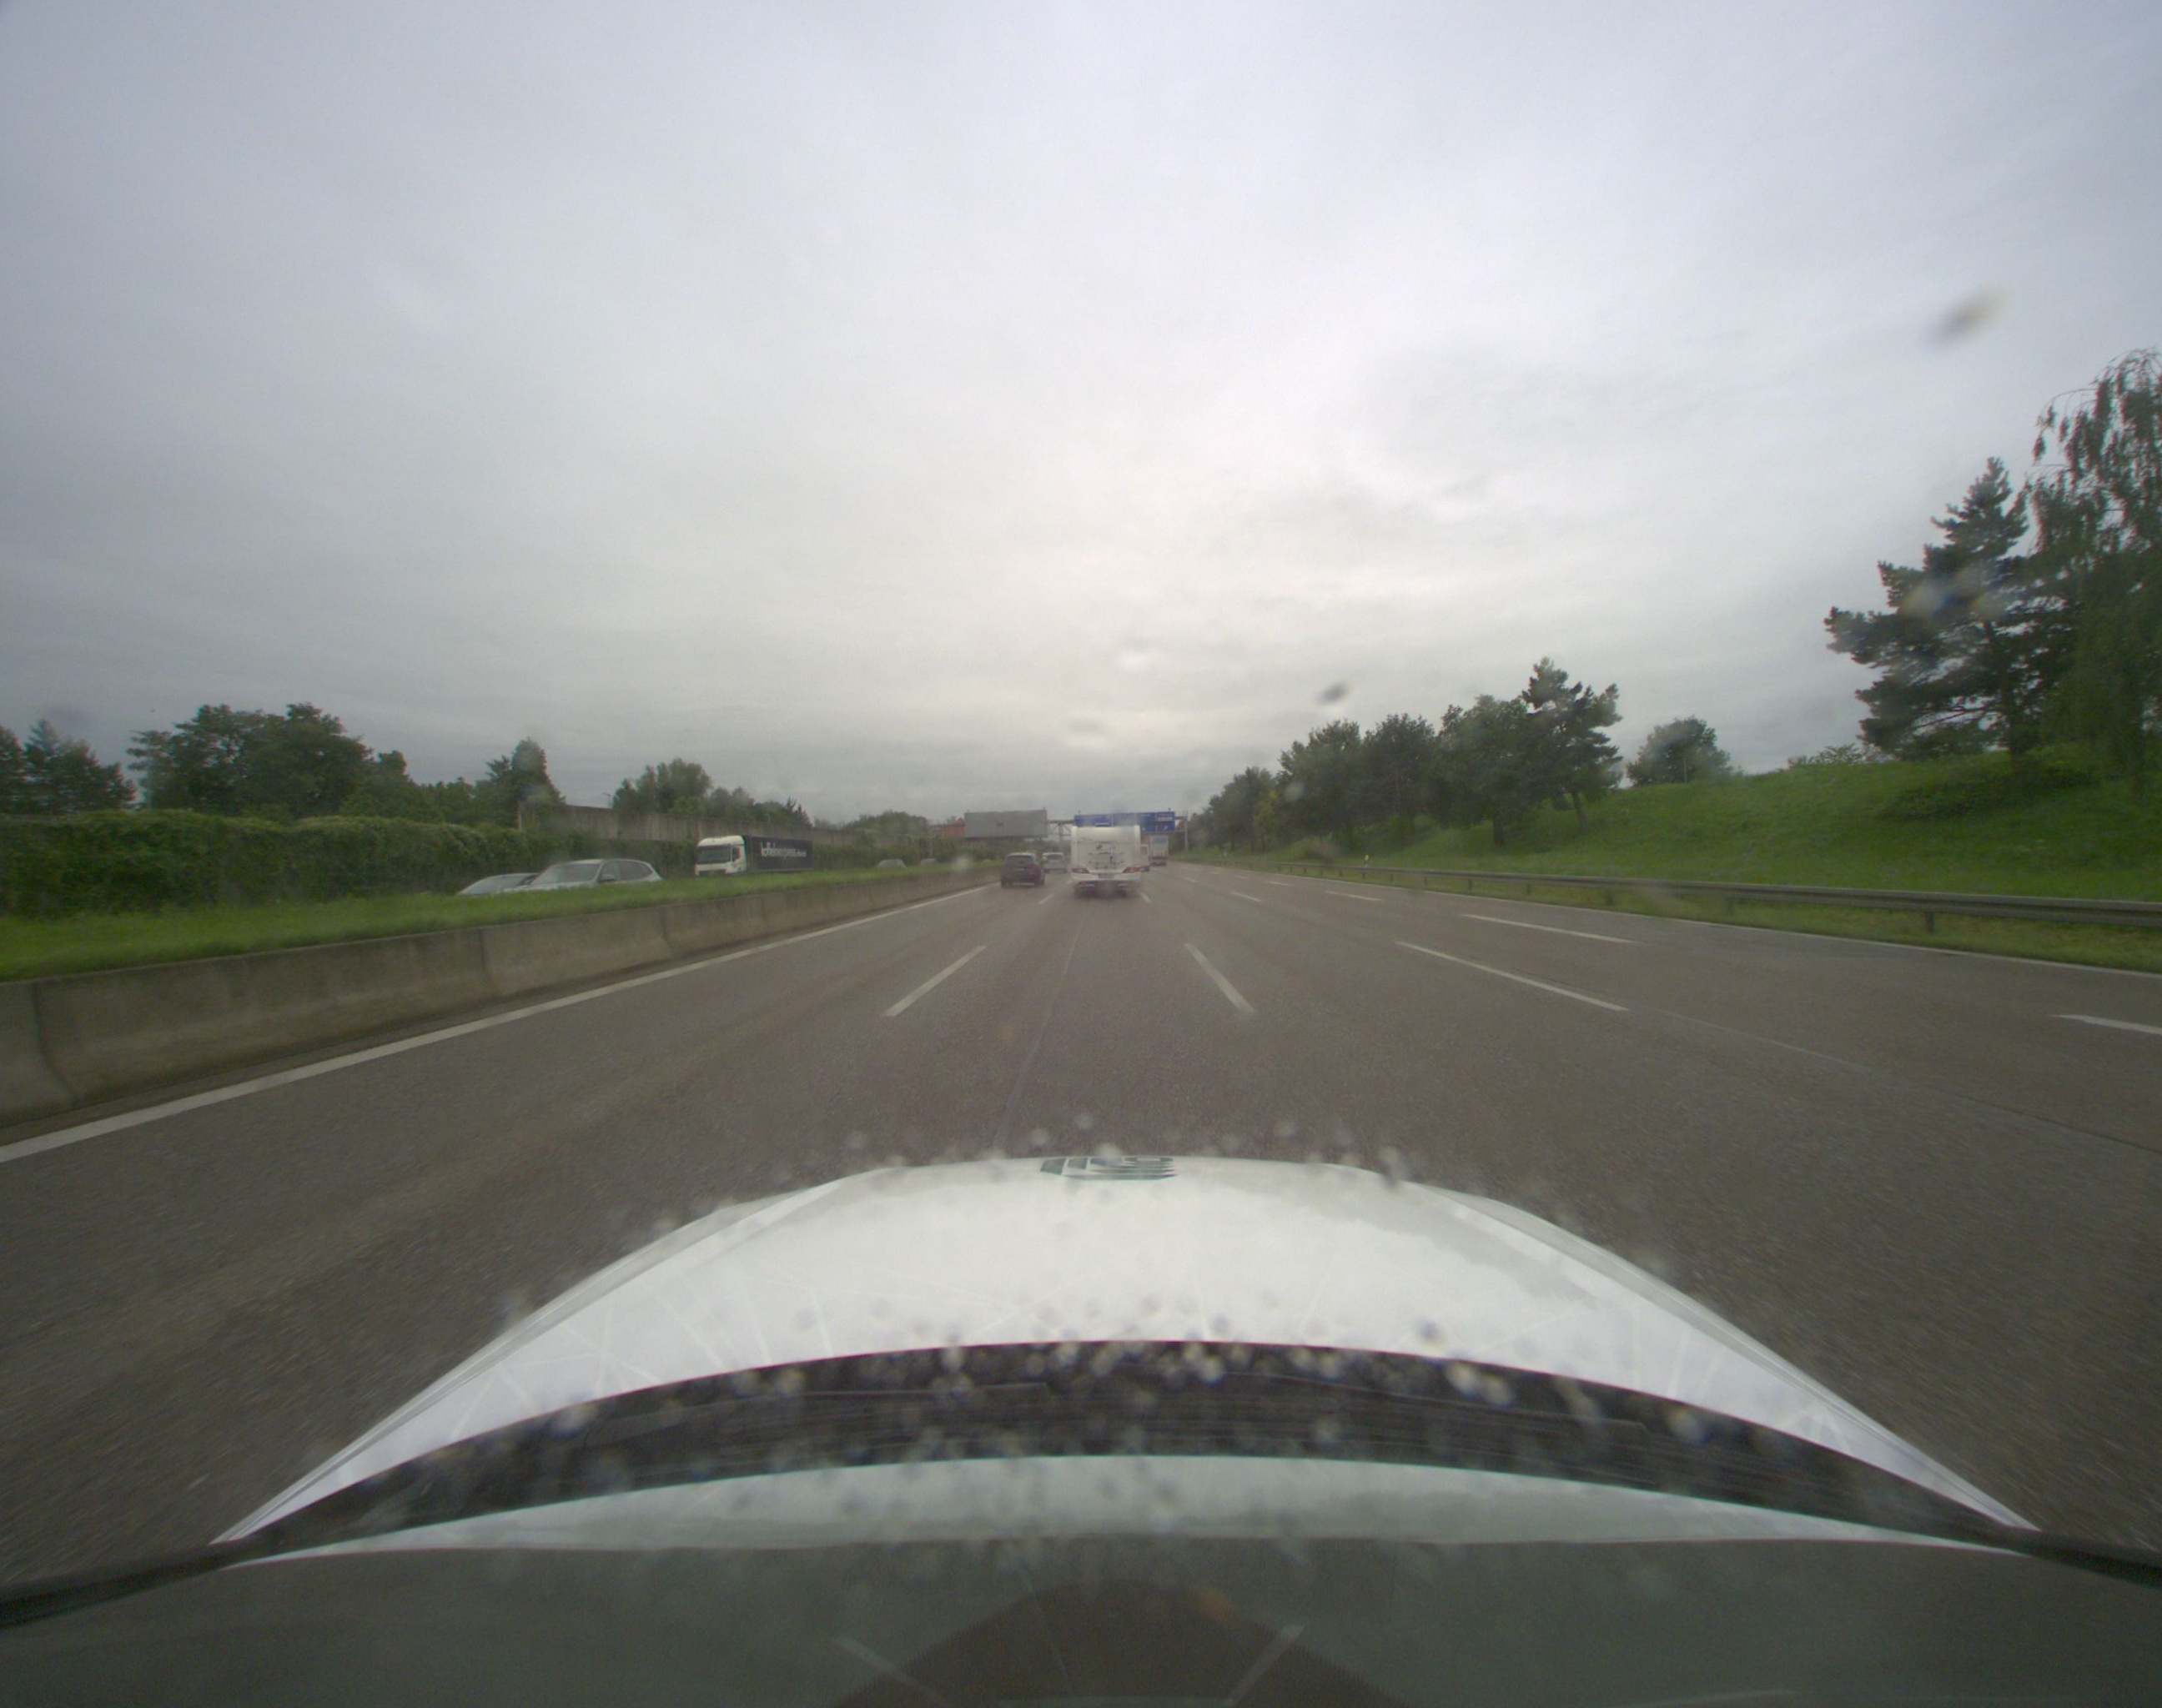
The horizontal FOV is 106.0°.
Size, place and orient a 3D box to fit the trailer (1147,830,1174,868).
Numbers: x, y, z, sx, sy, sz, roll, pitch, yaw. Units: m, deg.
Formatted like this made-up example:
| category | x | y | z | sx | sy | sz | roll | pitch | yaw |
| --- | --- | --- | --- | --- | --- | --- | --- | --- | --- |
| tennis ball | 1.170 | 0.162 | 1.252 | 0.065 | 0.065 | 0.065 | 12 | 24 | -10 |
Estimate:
| category | x | y | z | sx | sy | sz | roll | pitch | yaw |
| --- | --- | --- | --- | --- | --- | --- | --- | --- | --- |
| trailer | 10.677 | -0.571 | 110.377 | 3.087 | 4.922 | 11.797 | 0 | 0 | 3 |

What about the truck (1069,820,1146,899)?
| category | x | y | z | sx | sy | sz | roll | pitch | yaw |
| --- | --- | --- | --- | --- | --- | --- | --- | --- | --- |
| truck | 0.976 | 0.207 | 30.820 | 2.651 | 2.742 | 5.078 | 0 | 0 | 1 |

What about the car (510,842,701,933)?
| category | x | y | z | sx | sy | sz | roll | pitch | yaw |
| --- | --- | --- | --- | --- | --- | --- | --- | --- | --- |
| car | -11.720 | 0.741 | 20.523 | 2.113 | 2.013 | 4.519 | -1 | 0 | 0 |

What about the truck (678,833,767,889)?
| category | x | y | z | sx | sy | sz | roll | pitch | yaw |
| --- | --- | --- | --- | --- | --- | --- | --- | --- | --- |
| truck | -21.954 | 0.424 | 50.281 | 2.307 | 3.273 | 6.586 | 0 | 0 | 2 |

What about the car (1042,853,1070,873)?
| category | x | y | z | sx | sy | sz | roll | pitch | yaw |
| --- | --- | --- | --- | --- | --- | --- | --- | --- | --- |
| car | -2.088 | 0.744 | 69.588 | 2.120 | 1.706 | 4.113 | 0 | 0 | 1 |

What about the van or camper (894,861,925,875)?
| category | x | y | z | sx | sy | sz | roll | pitch | yaw |
| --- | --- | --- | --- | --- | --- | --- | --- | --- | --- |
| van or camper | -22.484 | 1.818 | 107.171 | 2.183 | 1.800 | 8.438 | 0 | 0 | 1 |

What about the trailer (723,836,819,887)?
| category | x | y | z | sx | sy | sz | roll | pitch | yaw |
| --- | --- | --- | --- | --- | --- | --- | --- | --- | --- |
| trailer | -21.590 | 0.502 | 57.577 | 2.297 | 3.290 | 10.569 | 0 | 0 | 3 |

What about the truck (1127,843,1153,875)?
| category | x | y | z | sx | sy | sz | roll | pitch | yaw |
| --- | --- | --- | --- | --- | --- | --- | --- | --- | --- |
| truck | 5.339 | 0.466 | 73.864 | 2.046 | 2.770 | 5.550 | 0 | 0 | 1 |

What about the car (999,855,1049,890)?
| category | x | y | z | sx | sy | sz | roll | pitch | yaw |
| --- | --- | --- | --- | --- | --- | --- | --- | --- | --- |
| car | -2.731 | 0.871 | 40.359 | 1.986 | 1.600 | 5.124 | -1 | 0 | 1 |

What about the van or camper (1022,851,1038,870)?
| category | x | y | z | sx | sy | sz | roll | pitch | yaw |
| --- | --- | --- | --- | --- | --- | --- | --- | --- | --- |
| van or camper | -11.110 | 1.462 | 177.484 | 2.698 | 3.948 | 8.405 | 0 | 0 | 2 |
